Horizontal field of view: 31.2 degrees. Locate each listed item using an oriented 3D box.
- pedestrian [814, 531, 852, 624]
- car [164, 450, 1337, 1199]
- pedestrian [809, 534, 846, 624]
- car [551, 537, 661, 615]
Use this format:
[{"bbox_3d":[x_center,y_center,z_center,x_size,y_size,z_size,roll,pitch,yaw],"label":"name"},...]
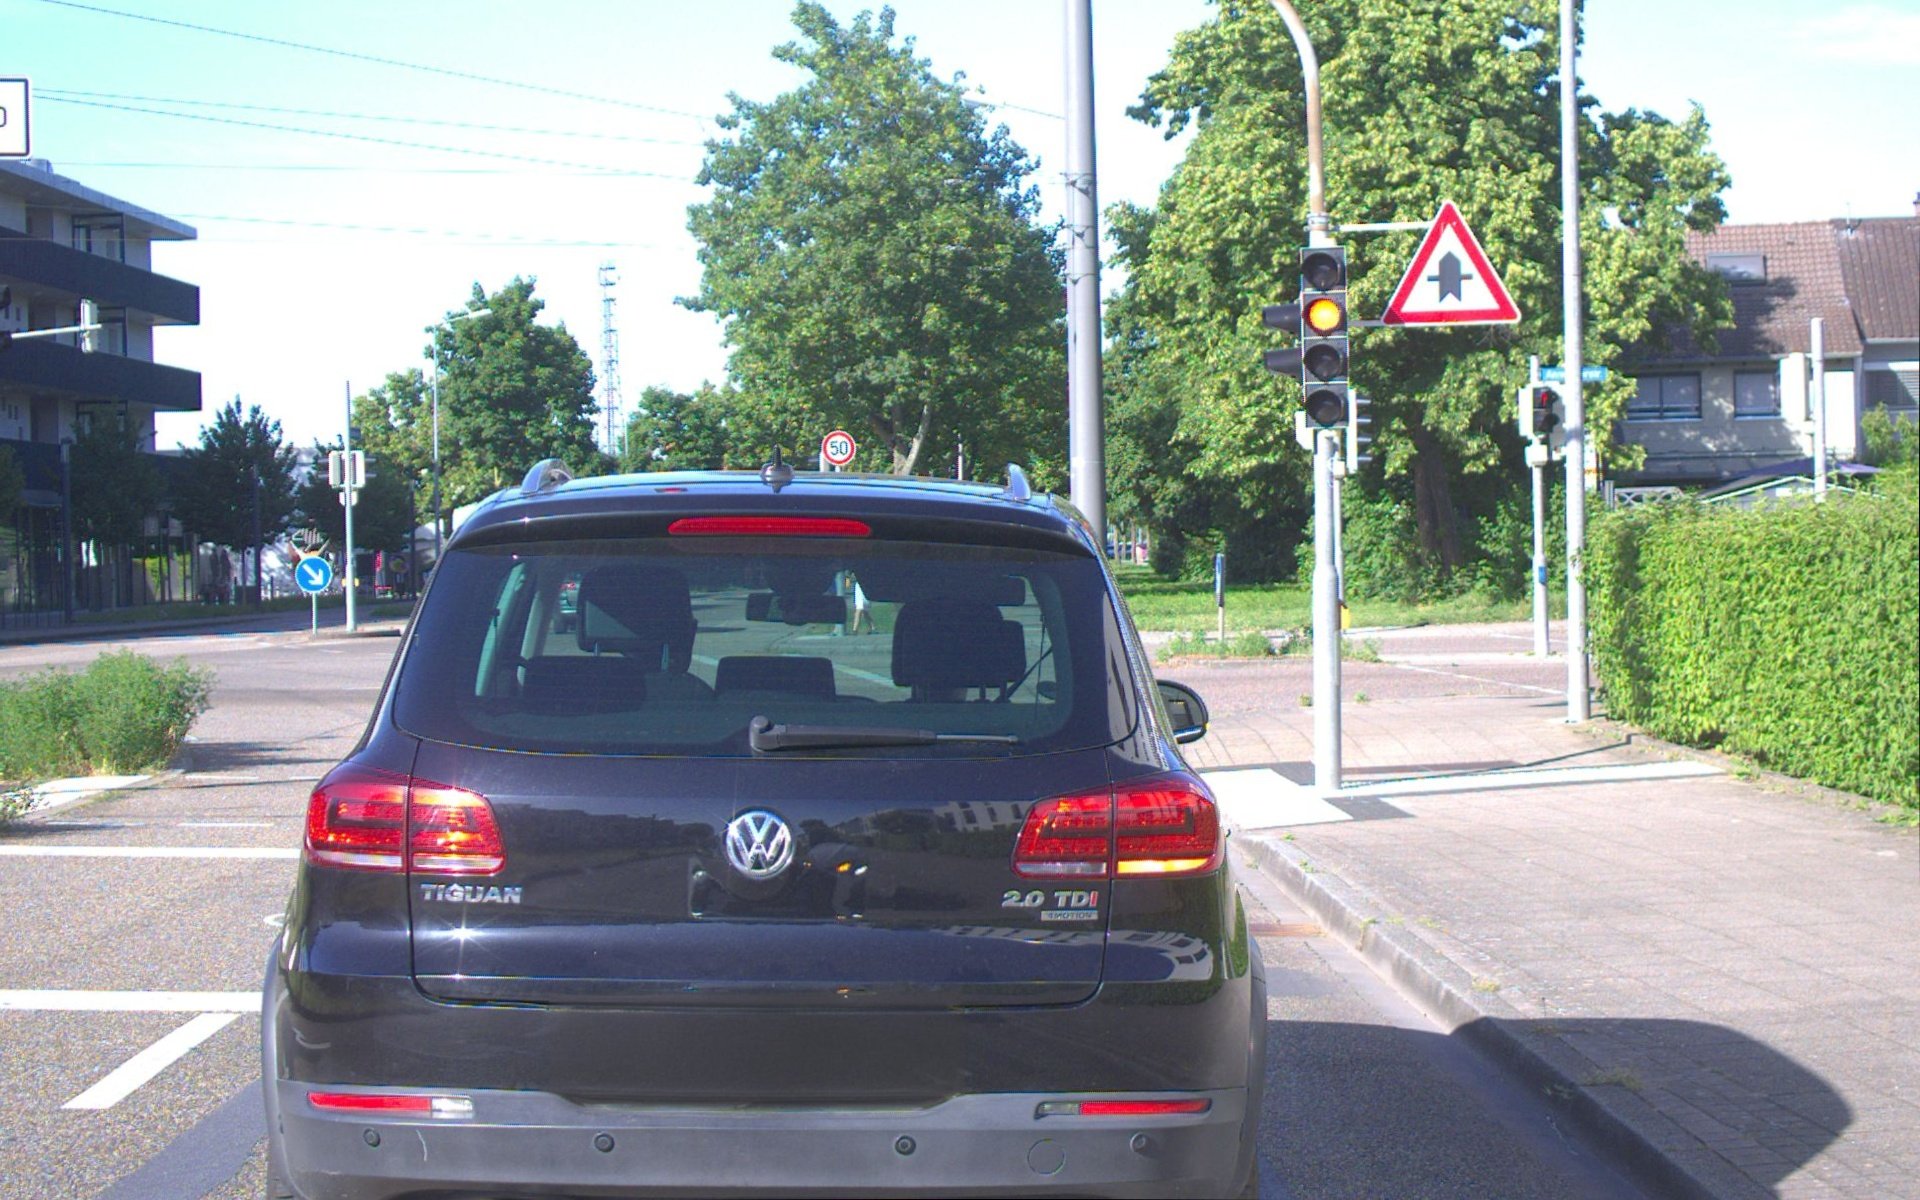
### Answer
[{"bbox_3d":[-2.242,-0.396,60.765,0.603,1.634,0.529,0,1,4],"label":"pedestrian"},{"bbox_3d":[-0.407,0.539,7.604,1.905,1.637,4.001,0,1,-2],"label":"car"},{"bbox_3d":[-2.321,-0.369,60.229,0.603,1.559,0.529,0,1,4],"label":"pedestrian"},{"bbox_3d":[-6.526,-0.461,63.718,1.751,1.382,4.001,0,1,-2],"label":"car"}]
